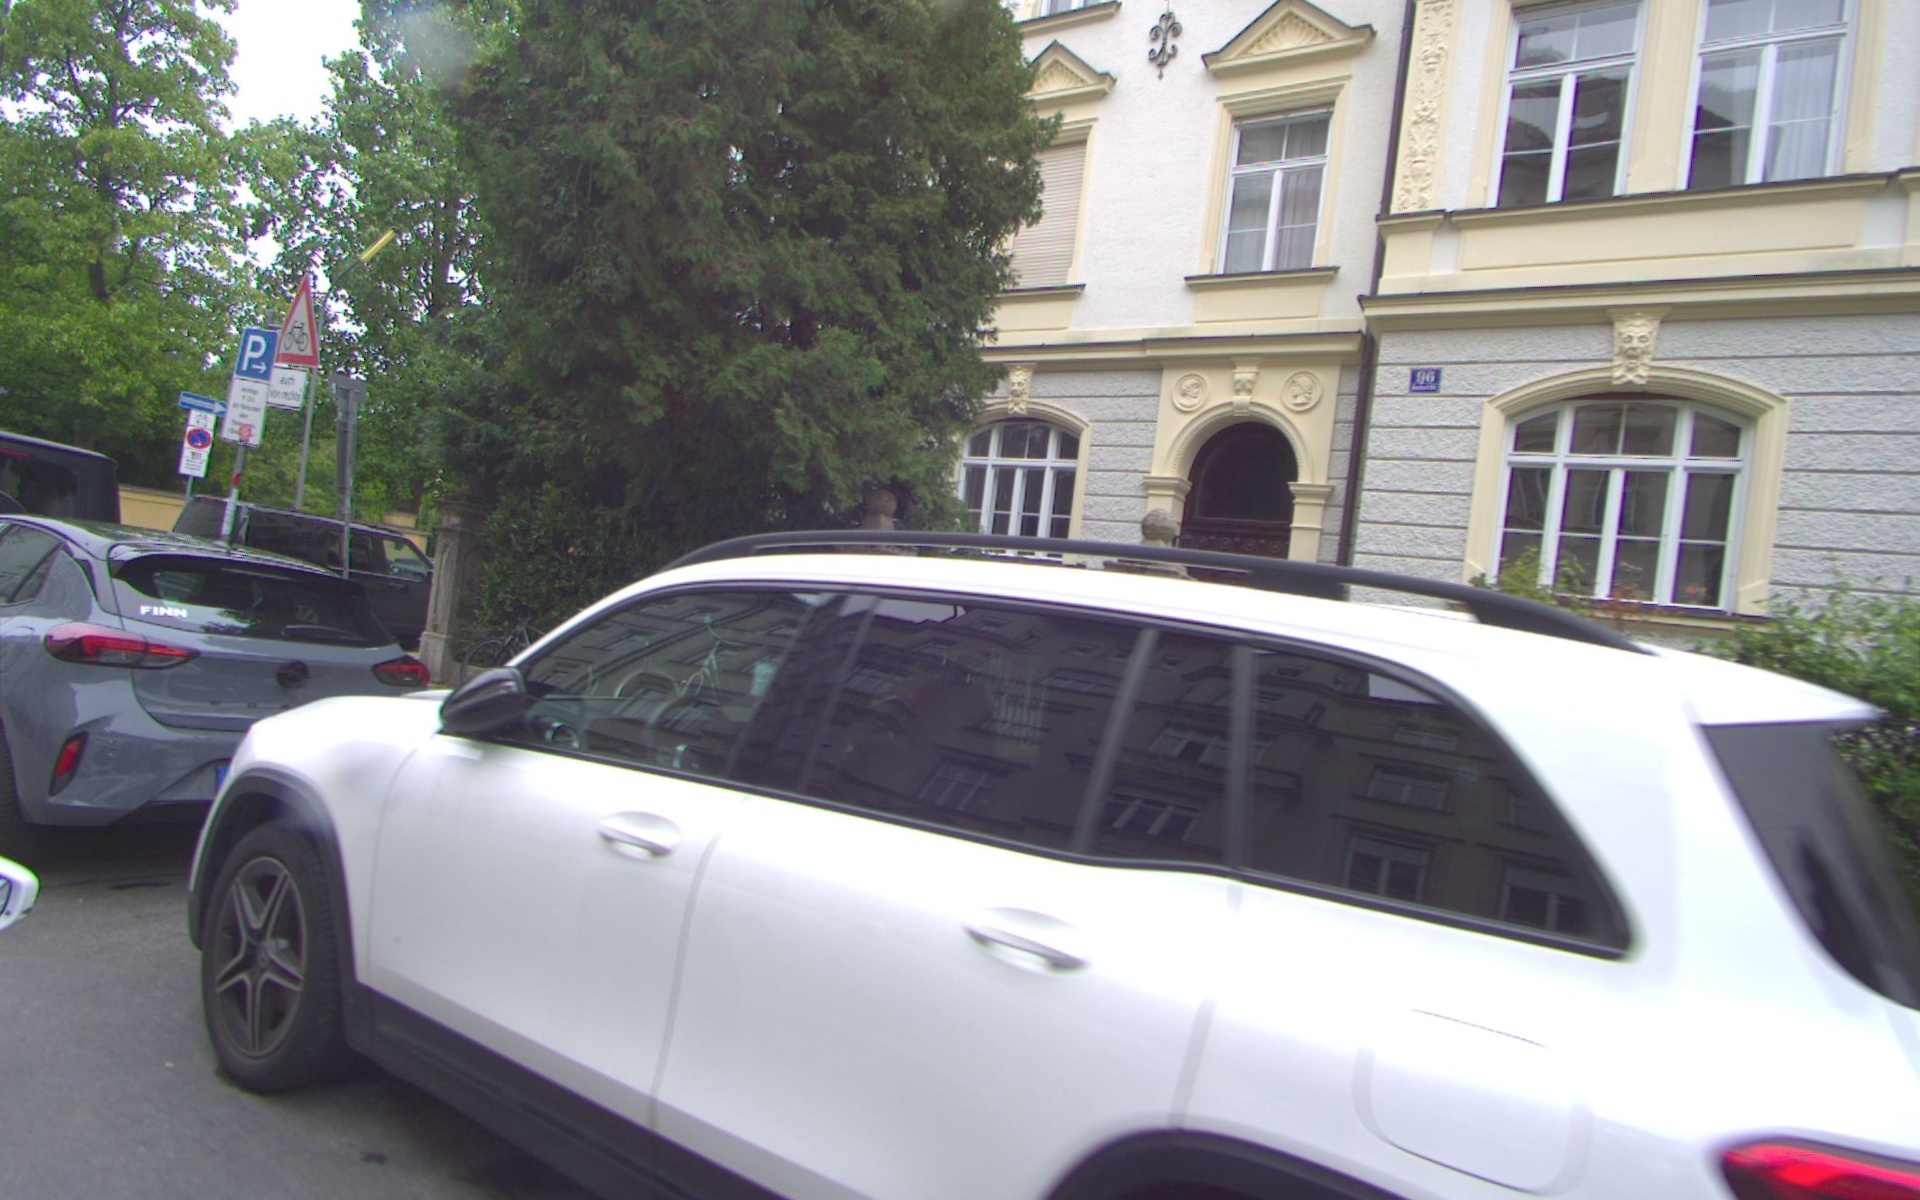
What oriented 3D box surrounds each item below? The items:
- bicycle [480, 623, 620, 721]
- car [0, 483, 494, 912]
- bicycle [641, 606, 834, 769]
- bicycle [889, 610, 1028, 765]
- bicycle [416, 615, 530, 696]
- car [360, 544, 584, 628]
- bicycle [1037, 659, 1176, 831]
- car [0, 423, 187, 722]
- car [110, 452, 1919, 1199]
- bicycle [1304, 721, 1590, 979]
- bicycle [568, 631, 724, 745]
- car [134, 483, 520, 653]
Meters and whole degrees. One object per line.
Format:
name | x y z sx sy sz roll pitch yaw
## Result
bicycle | -3.970 0.682 9.716 1.332 0.743 0.513 7 0 33
car | -4.443 0.293 5.286 3.569 1.535 1.728 7 -3 30
bicycle | -1.808 0.693 8.209 1.328 1.108 0.514 7 0 14
bicycle | 0.025 0.791 8.934 0.481 1.212 1.492 7 -3 26
bicycle | -5.062 0.574 10.442 1.105 0.691 0.513 7 0 33
car | -11.700 -0.271 24.499 1.889 1.500 4.604 6 -1 27
bicycle | 1.114 1.032 7.452 0.448 1.112 1.311 7 0 30
car | -8.326 -0.450 7.846 4.587 1.977 1.955 8 -1 31
car | -0.281 0.721 2.742 4.341 1.788 1.727 6 -3 33
bicycle | 2.714 1.342 5.669 1.291 1.112 0.455 7 0 31
bicycle | -2.797 0.762 8.920 1.332 0.791 0.513 7 0 33
car | -9.347 -0.343 15.357 1.869 1.974 4.540 9 1 25
